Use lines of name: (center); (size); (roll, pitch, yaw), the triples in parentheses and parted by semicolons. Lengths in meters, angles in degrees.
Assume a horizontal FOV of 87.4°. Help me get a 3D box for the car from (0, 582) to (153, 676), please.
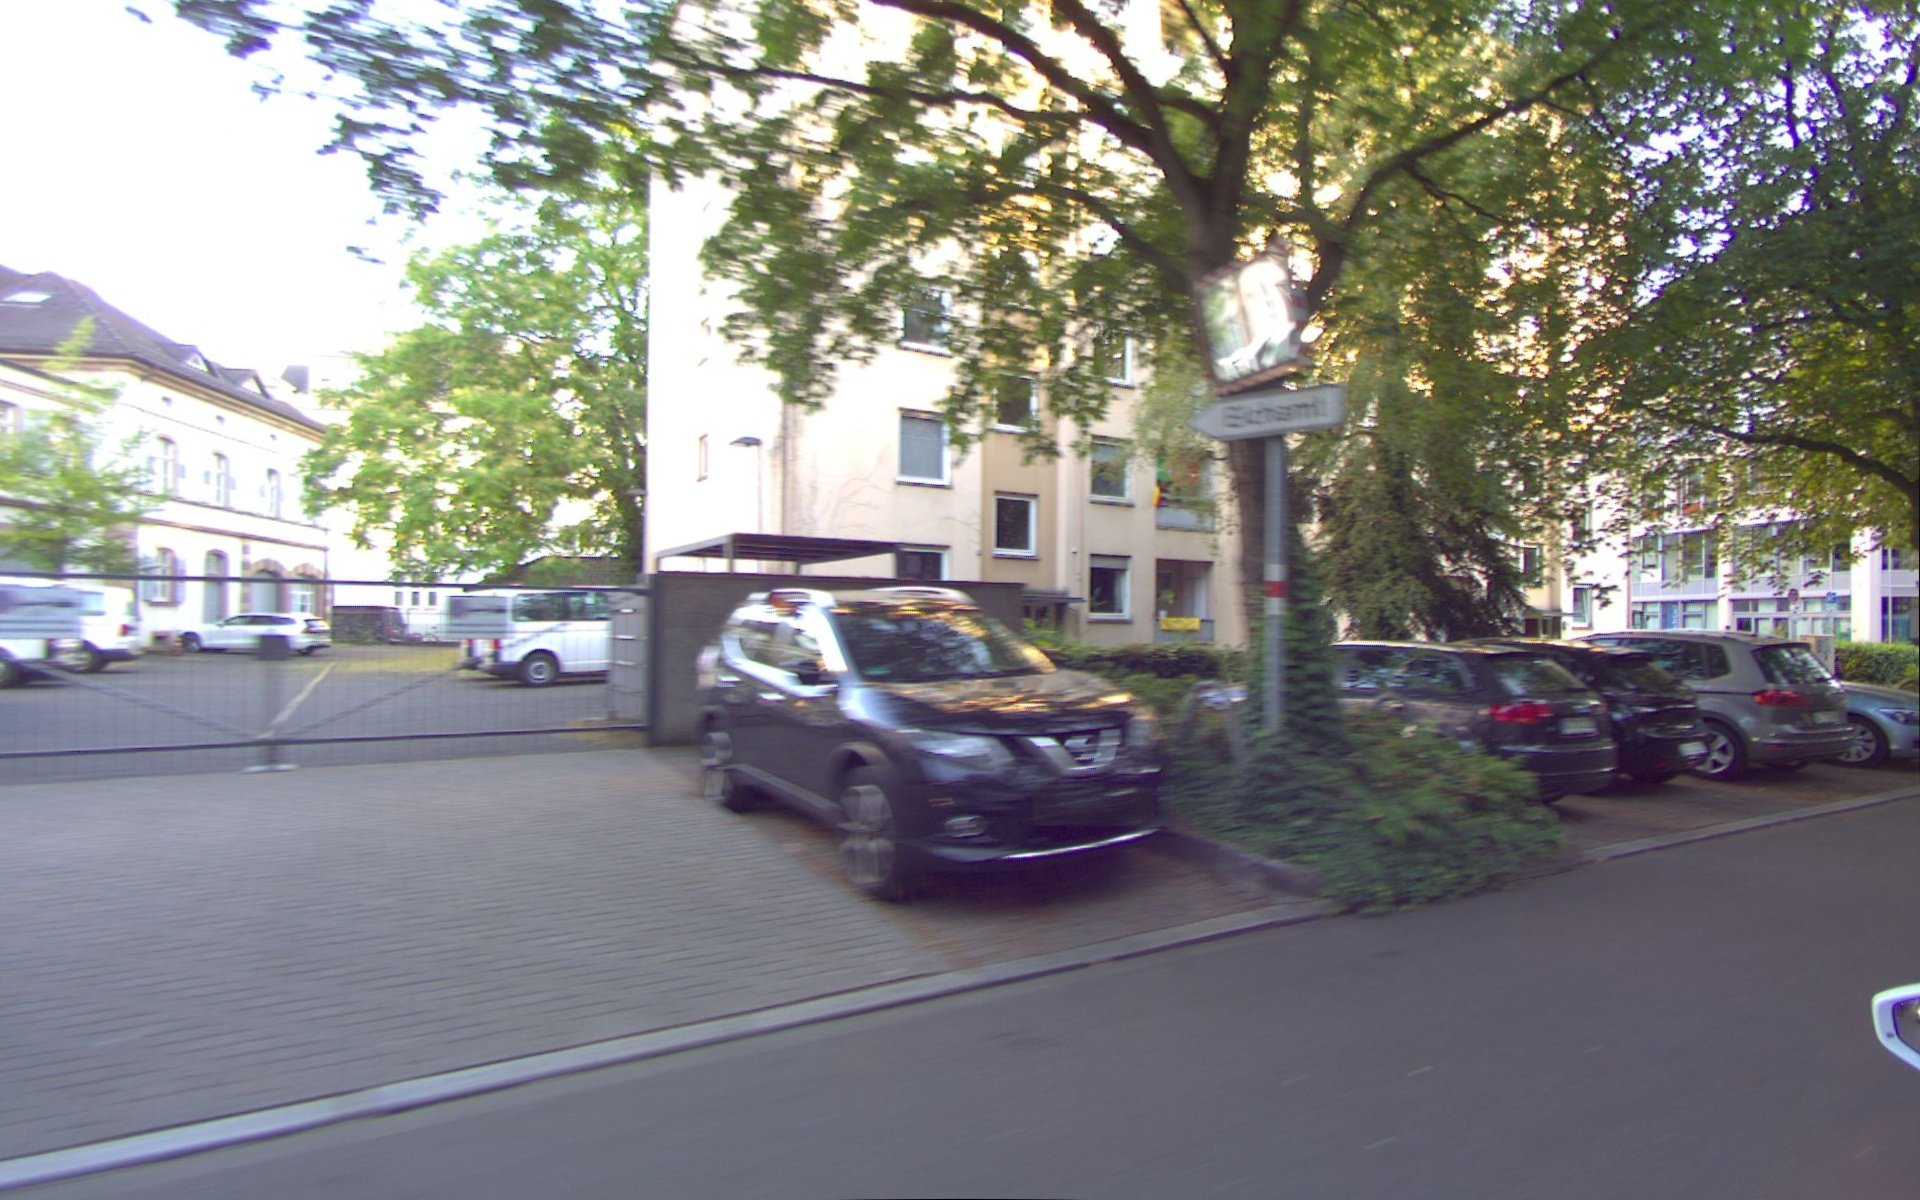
car: (-20.930, 0.648, 22.719); (3.958, 2.040, 1.981); (1, -1, -34)

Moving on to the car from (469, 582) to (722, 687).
car: (-7.470, 0.701, 20.684); (4.646, 1.948, 2.043); (1, -1, -29)

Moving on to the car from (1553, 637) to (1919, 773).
car: (10.629, 1.266, 13.476); (1.857, 1.448, 4.267); (1, -1, -30)

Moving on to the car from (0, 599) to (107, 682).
car: (-19.905, 0.796, 20.218); (3.958, 1.639, 1.570); (1, -1, -34)

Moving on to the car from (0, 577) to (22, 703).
car: (-15.989, 0.544, 13.743); (4.304, 1.845, 1.885); (2, -1, -34)

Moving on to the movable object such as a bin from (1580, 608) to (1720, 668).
movable object such as a bin: (33.045, 1.798, 48.359); (2.243, 2.728, 5.639); (0, -1, -10)

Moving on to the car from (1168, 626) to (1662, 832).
car: (4.085, 1.022, 9.646); (1.901, 1.483, 3.966); (1, -1, -32)

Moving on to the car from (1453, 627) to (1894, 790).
car: (8.369, 1.144, 12.201); (1.903, 1.586, 3.975); (1, -1, -25)

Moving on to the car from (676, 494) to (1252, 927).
car: (-0.363, 0.550, 7.044); (1.978, 1.981, 4.481); (1, -1, -32)

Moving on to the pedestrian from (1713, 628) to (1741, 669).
pedestrian: (35.310, 2.221, 46.231); (0.874, 1.875, 0.875); (0, -1, 27)

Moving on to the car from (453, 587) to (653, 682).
car: (-9.215, 0.769, 22.777); (3.953, 1.973, 1.984); (1, -1, -30)

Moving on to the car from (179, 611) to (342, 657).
car: (-24.443, 1.197, 35.225); (4.212, 1.526, 1.998); (1, -1, -6)

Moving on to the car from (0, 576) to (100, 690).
car: (-18.138, 0.554, 17.399); (4.640, 1.950, 2.133); (1, -1, -34)

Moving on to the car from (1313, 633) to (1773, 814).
car: (6.071, 1.145, 10.912); (1.806, 1.510, 3.964); (1, -1, -33)
